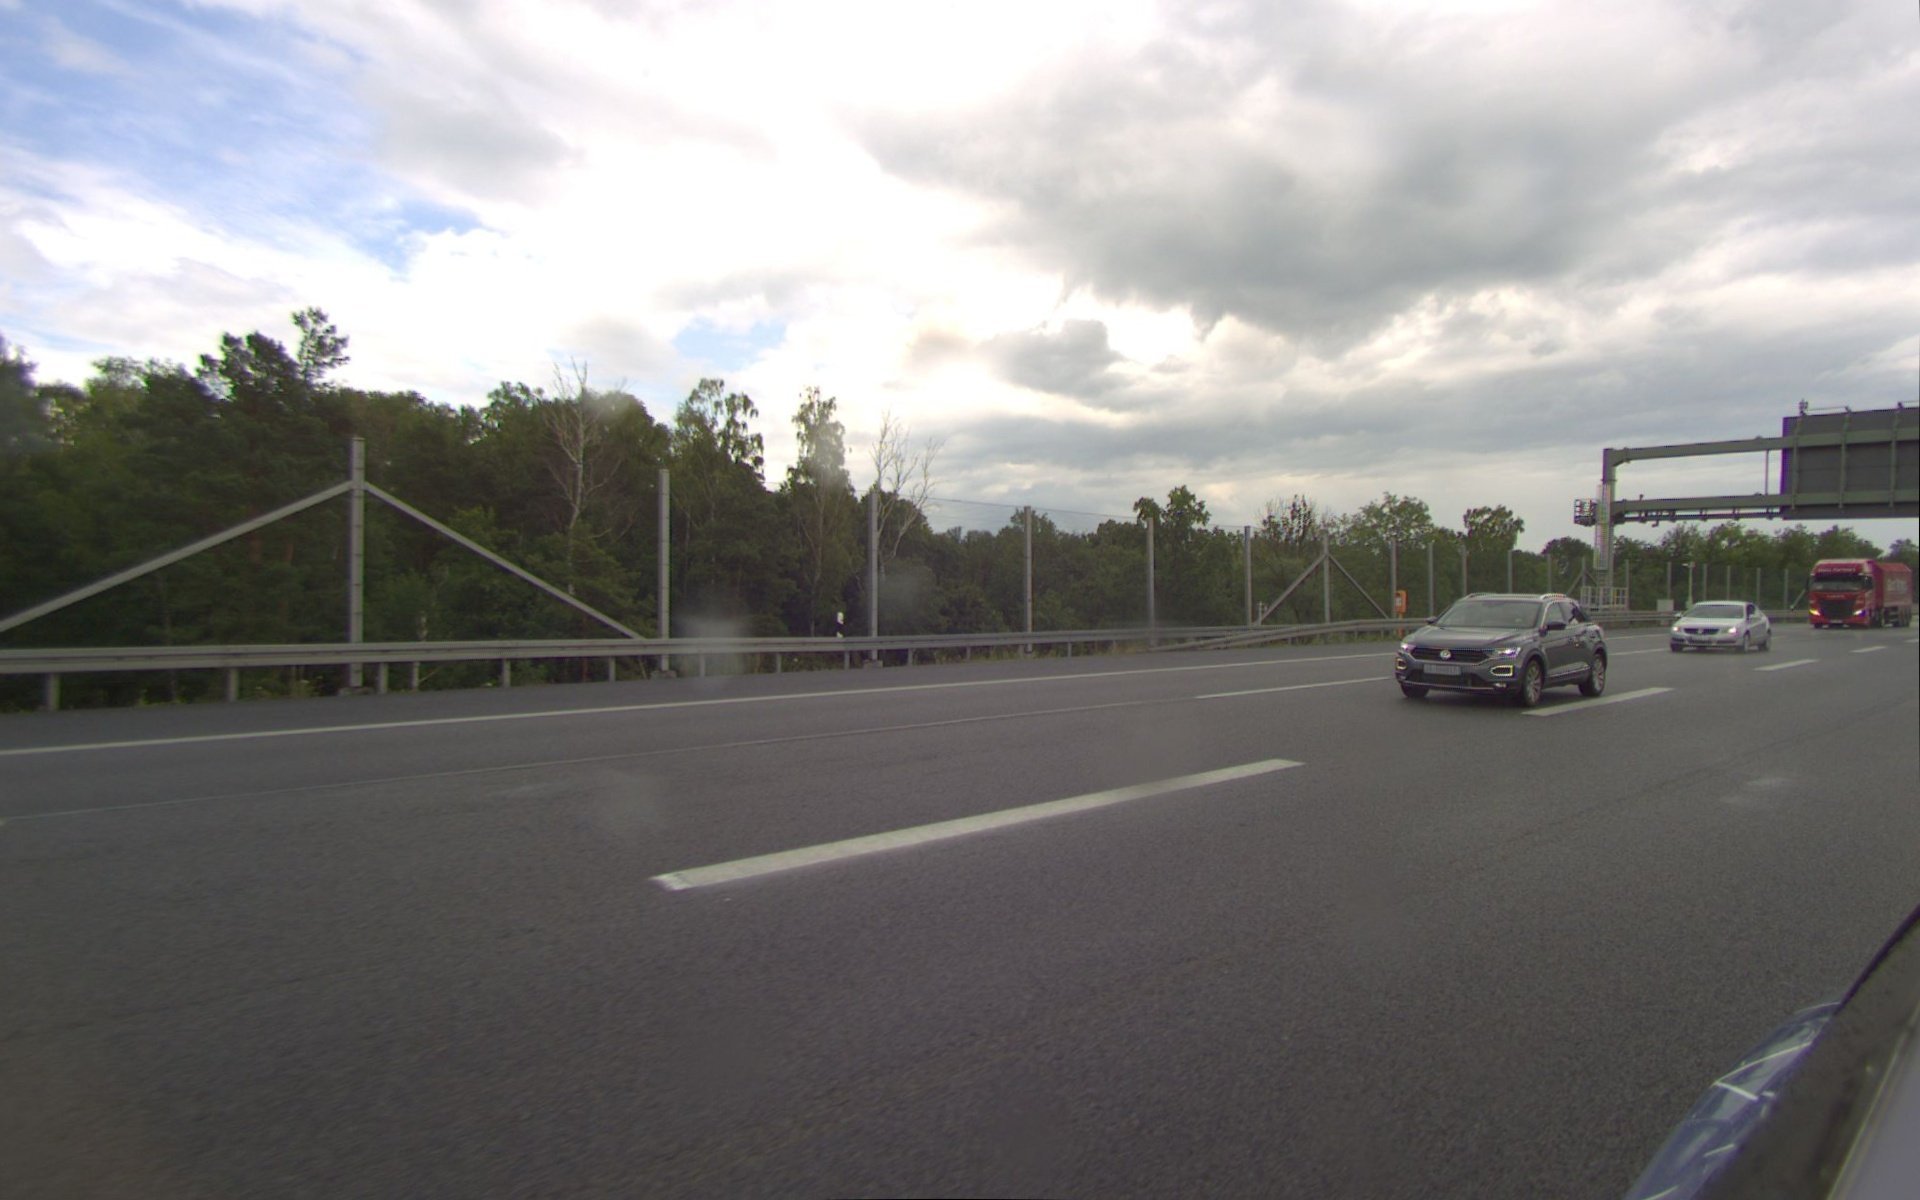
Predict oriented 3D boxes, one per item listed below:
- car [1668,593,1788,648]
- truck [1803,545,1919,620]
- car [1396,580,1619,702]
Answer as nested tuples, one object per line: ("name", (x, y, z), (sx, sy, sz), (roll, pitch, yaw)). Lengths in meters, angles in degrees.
("car", (22.266, 0.535, 29.284), (4.170, 1.465, 1.897), (0, 1, -40))
("truck", (54.793, -0.936, 60.644), (15.346, 4.054, 3.161), (0, 0, -37))
("car", (8.163, 0.509, 14.987), (3.658, 1.582, 1.795), (-1, 1, -42))
